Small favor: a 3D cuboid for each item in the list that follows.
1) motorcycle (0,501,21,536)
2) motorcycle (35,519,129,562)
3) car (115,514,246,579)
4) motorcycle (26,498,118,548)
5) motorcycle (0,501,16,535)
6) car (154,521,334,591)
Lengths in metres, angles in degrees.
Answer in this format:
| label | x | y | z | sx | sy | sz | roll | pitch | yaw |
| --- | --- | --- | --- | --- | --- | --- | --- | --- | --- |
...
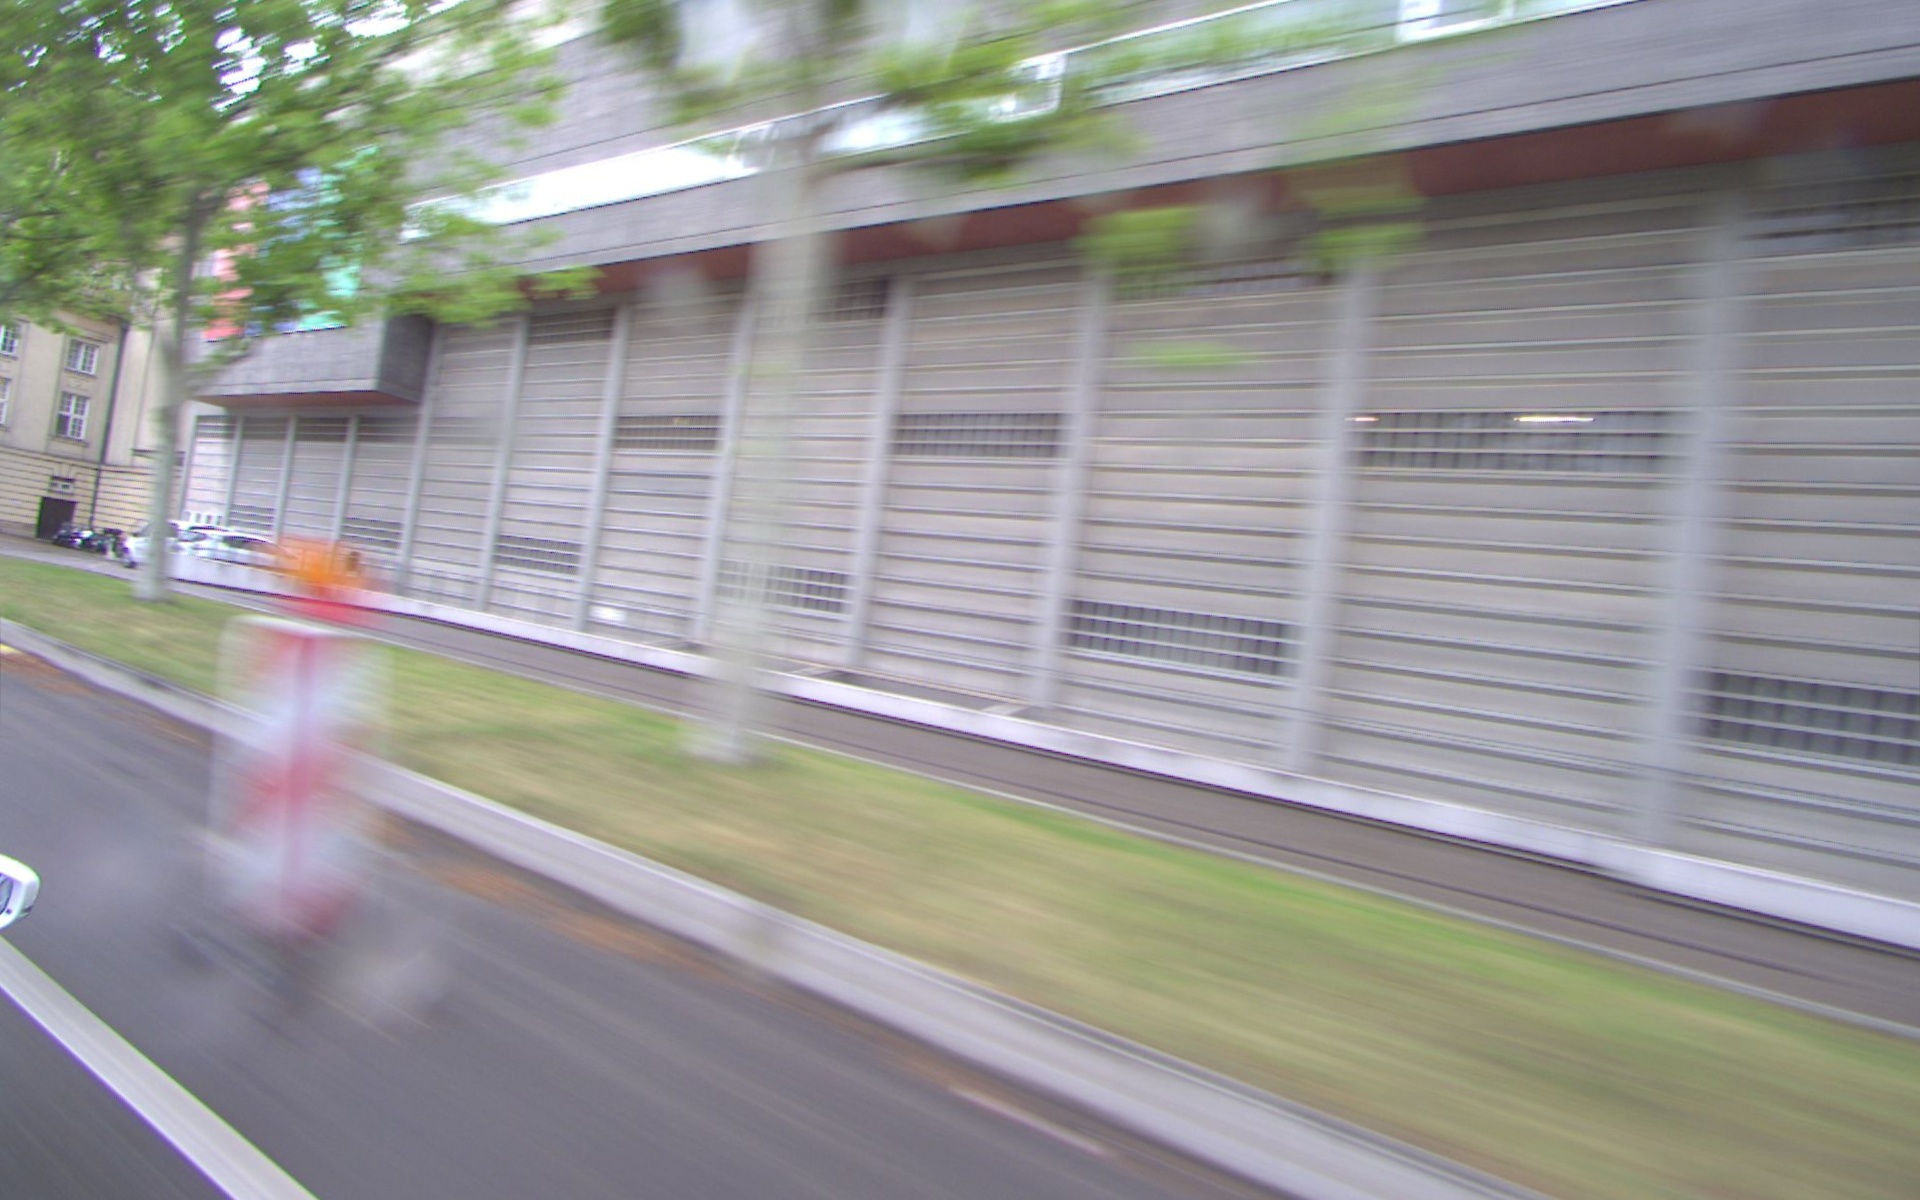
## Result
| label | x | y | z | sx | sy | sz | roll | pitch | yaw |
| --- | --- | --- | --- | --- | --- | --- | --- | --- | --- |
| motorcycle | -48.354 | -4.253 | 49.287 | 0.876 | 1.558 | 3.169 | 5 | -6 | 35 |
| motorcycle | -45.461 | -3.053 | 52.147 | 1.134 | 1.546 | 3.360 | 5 | -6 | 34 |
| car | -27.912 | -1.932 | 35.988 | 5.014 | 1.779 | 1.997 | 5 | -3 | 33 |
| motorcycle | -47.425 | -4.093 | 53.788 | 1.134 | 2.035 | 3.356 | 5 | -4 | 34 |
| motorcycle | -49.163 | -4.354 | 49.889 | 0.876 | 1.558 | 3.168 | 5 | -6 | 36 |
| car | -21.897 | -1.316 | 30.909 | 1.902 | 1.577 | 3.993 | 4 | -3 | 32 |
